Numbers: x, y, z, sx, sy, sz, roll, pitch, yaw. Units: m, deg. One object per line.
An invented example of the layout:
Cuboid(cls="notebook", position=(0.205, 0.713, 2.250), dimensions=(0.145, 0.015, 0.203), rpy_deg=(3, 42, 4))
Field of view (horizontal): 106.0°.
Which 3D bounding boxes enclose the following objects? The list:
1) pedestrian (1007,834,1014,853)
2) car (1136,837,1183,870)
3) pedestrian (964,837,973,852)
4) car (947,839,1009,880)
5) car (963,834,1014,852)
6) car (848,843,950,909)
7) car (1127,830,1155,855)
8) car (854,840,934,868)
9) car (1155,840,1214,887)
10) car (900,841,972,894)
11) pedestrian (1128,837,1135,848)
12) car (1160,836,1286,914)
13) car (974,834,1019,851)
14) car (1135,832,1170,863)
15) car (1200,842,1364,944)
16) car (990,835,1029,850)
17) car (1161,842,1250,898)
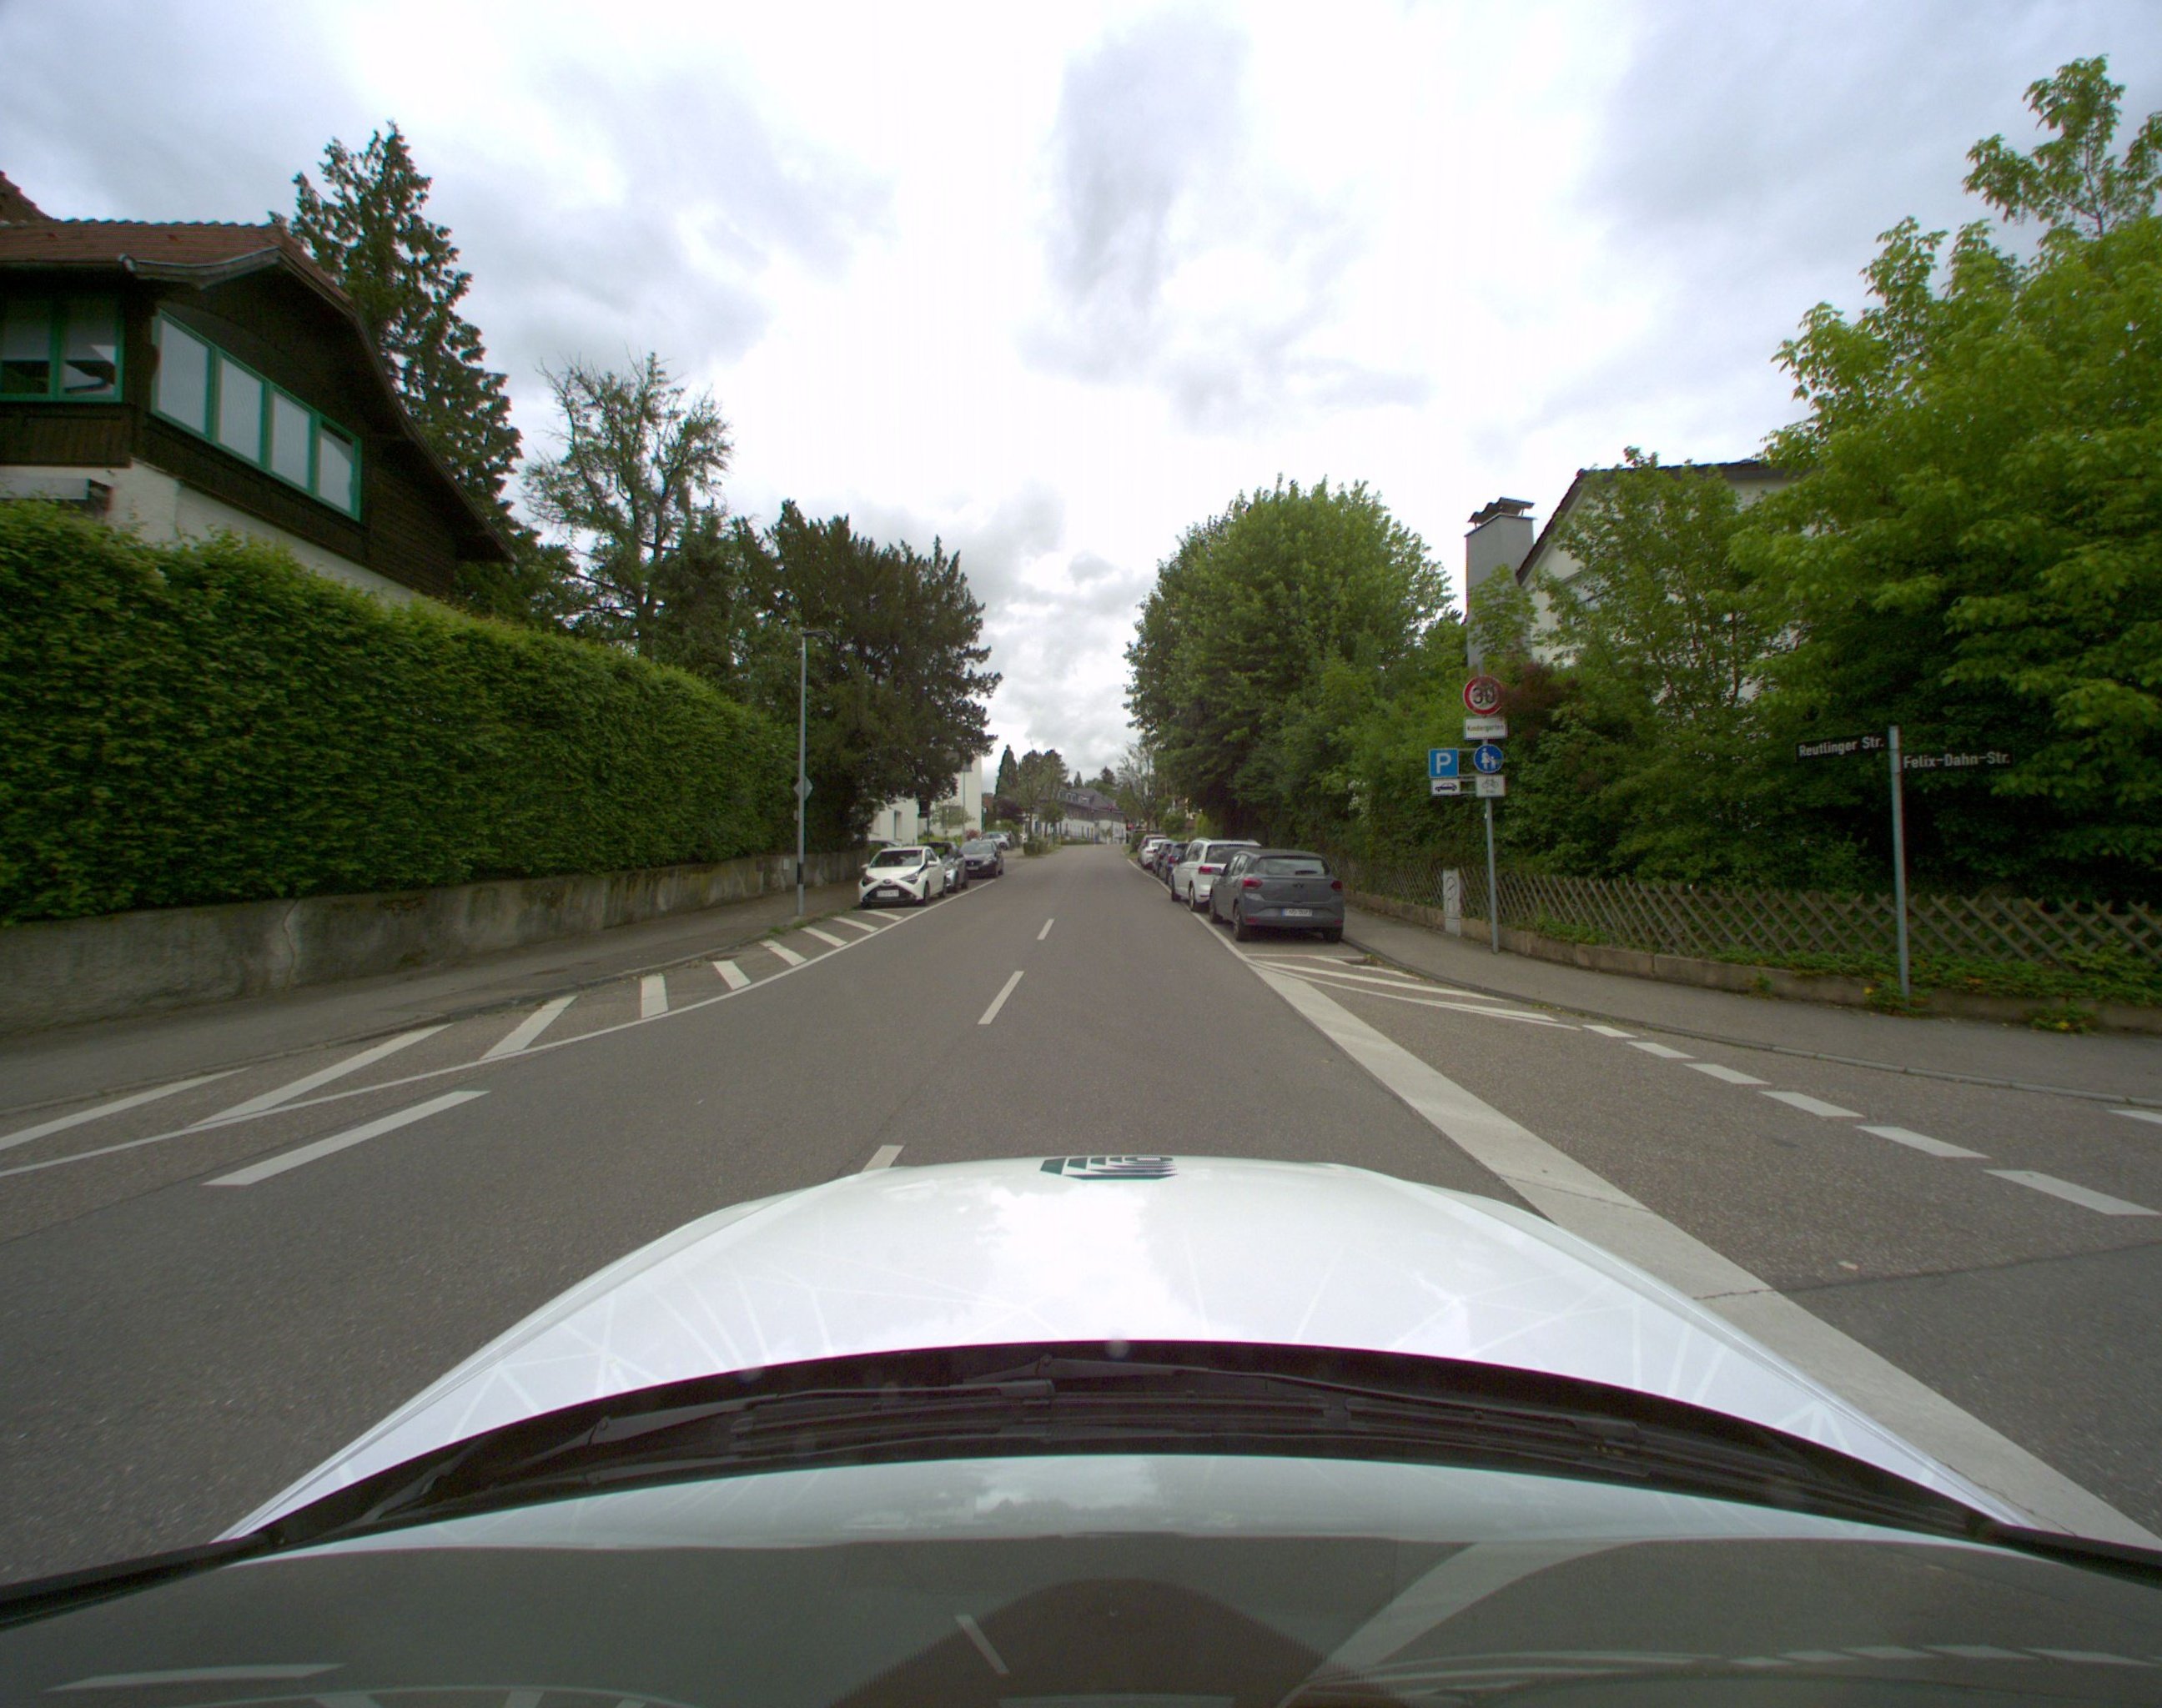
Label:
Cuboid(cls="pedestrian", position=(-6.300, -0.924, 72.833), dimensions=(0.591, 1.640, 0.566), rpy_deg=(-1, 1, 2))
Cuboid(cls="car", position=(3.816, -0.081, 40.300), dimensions=(1.986, 1.491, 5.008), rpy_deg=(-1, 2, 2))
Cuboid(cls="pedestrian", position=(-9.982, -0.837, 72.182), dimensions=(0.605, 1.283, 0.900), rpy_deg=(1, 1, 1))
Cuboid(cls="car", position=(-4.078, 0.172, 32.840), dimensions=(1.844, 1.469, 4.683), rpy_deg=(-1, 1, 0))
Cuboid(cls="car", position=(-8.406, -1.038, 74.382), dimensions=(4.372, 1.566, 2.066), rpy_deg=(-1, 1, 0))
Cuboid(cls="car", position=(-4.541, 0.486, 20.796), dimensions=(1.739, 1.447, 3.514), rpy_deg=(-1, 2, 0))
Cuboid(cls="car", position=(4.591, -0.897, 62.901), dimensions=(1.929, 1.837, 5.222), rpy_deg=(-1, 1, 2))
Cuboid(cls="car", position=(-9.642, -0.032, 42.197), dimensions=(3.787, 1.354, 1.739), rpy_deg=(-1, 1, -4))
Cuboid(cls="car", position=(3.684, 0.271, 29.521), dimensions=(1.691, 1.508, 4.162), rpy_deg=(1, 1, 2))
Cuboid(cls="car", position=(-4.376, 0.370, 24.995), dimensions=(1.618, 1.518, 2.976), rpy_deg=(-1, 1, 0))
Cuboid(cls="pedestrian", position=(7.776, -1.828, 125.354), dimensions=(0.677, 1.682, 0.704), rpy_deg=(0, 1, 40))
Cuboid(cls="car", position=(3.288, 0.387, 19.876), dimensions=(1.996, 1.608, 4.754), rpy_deg=(-1, 2, -3))
Cuboid(cls="car", position=(-7.962, -1.099, 77.016), dimensions=(3.971, 1.653, 2.010), rpy_deg=(0, 1, 2))
Cuboid(cls="car", position=(4.040, -0.390, 46.543), dimensions=(1.710, 1.632, 3.930), rpy_deg=(1, 1, 2))
Cuboid(cls="car", position=(3.467, 0.584, 14.930), dimensions=(1.931, 1.491, 4.457), rpy_deg=(-1, 2, 0))
Cuboid(cls="car", position=(-8.127, -1.331, 93.221), dimensions=(4.248, 1.623, 2.013), rpy_deg=(-2, 0, -2))
Cuboid(cls="car", position=(3.636, 0.407, 24.546), dimensions=(1.805, 1.452, 4.374), rpy_deg=(-1, 1, -3))
